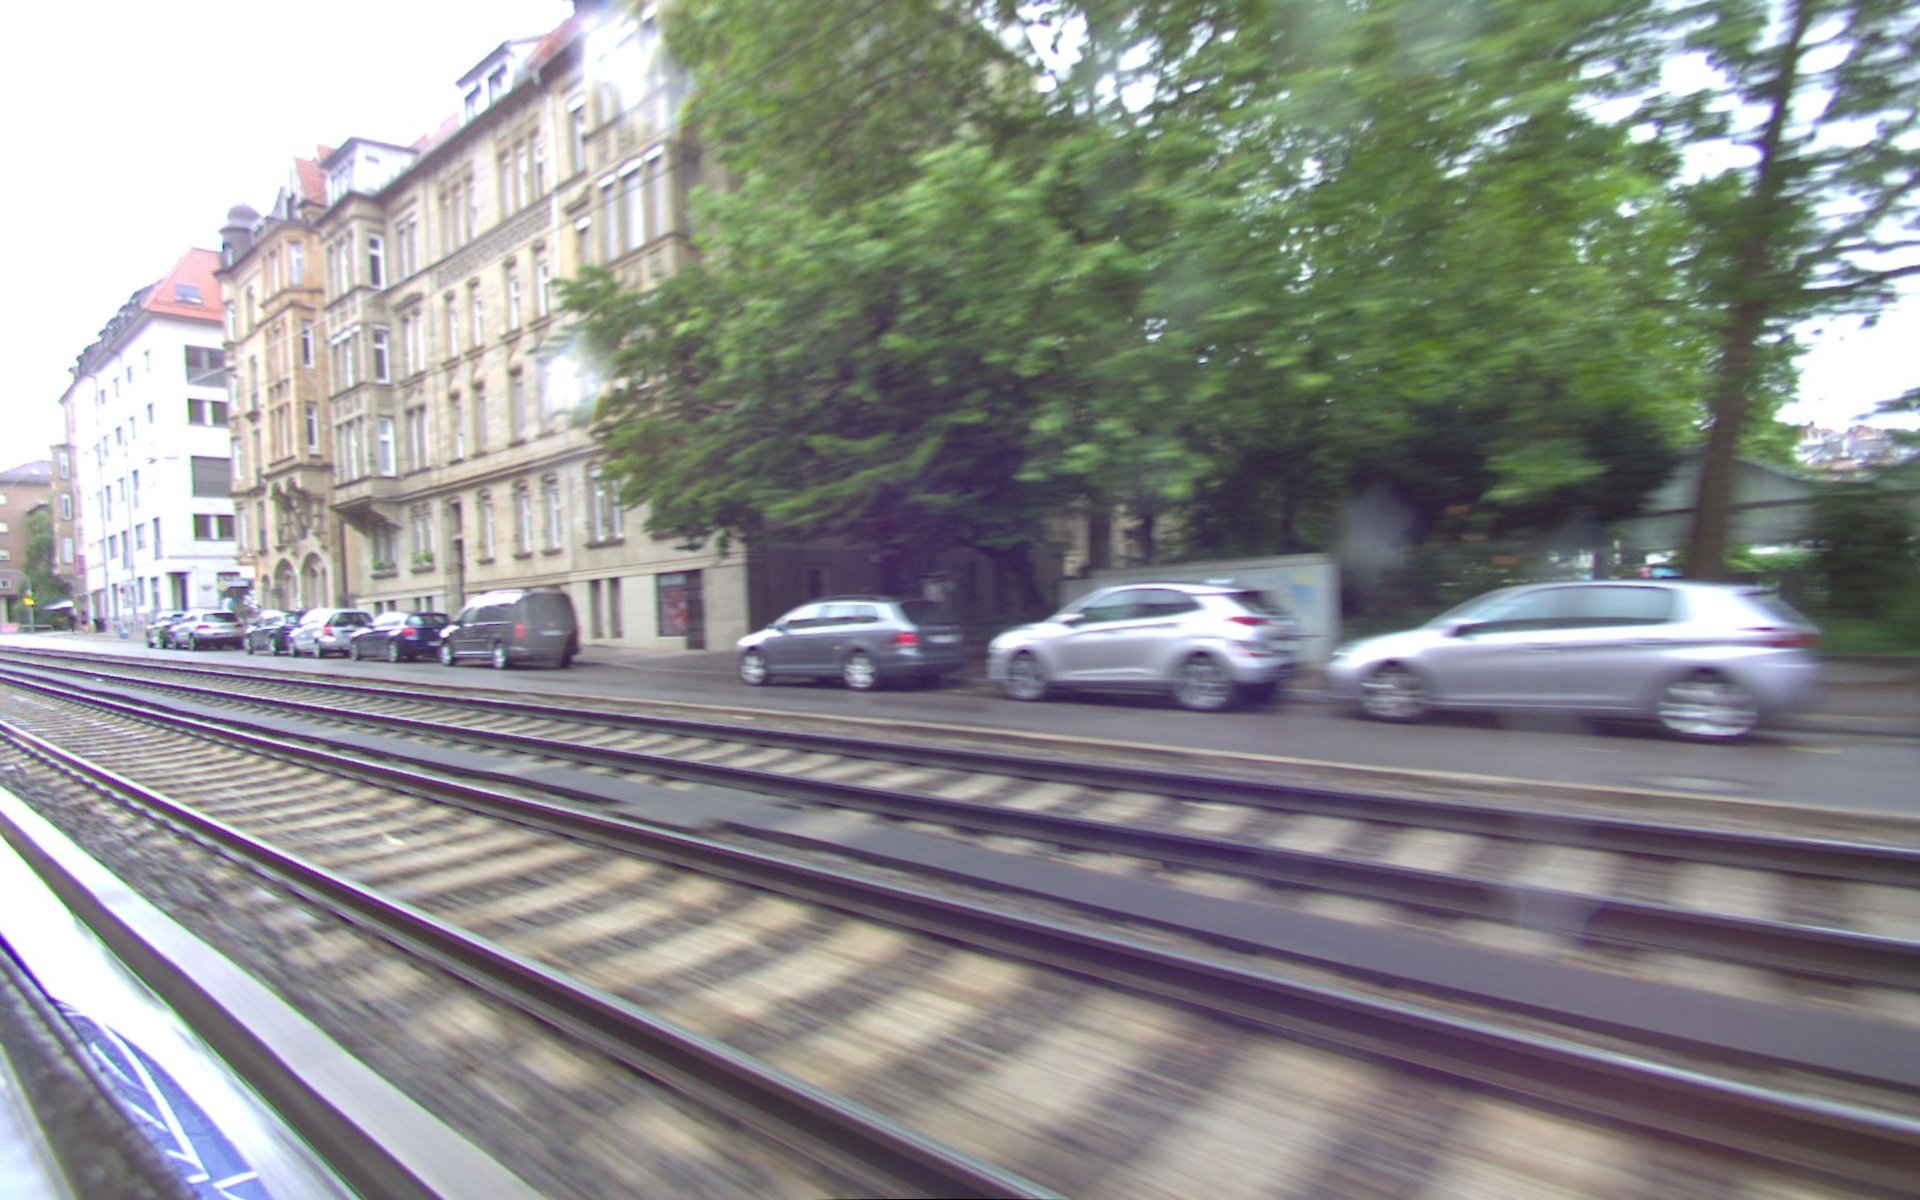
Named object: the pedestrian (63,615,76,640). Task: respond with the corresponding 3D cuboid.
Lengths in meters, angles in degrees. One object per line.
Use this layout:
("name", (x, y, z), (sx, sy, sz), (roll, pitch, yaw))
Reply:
("pedestrian", (-65.831, 2.028, 74.810), (0.746, 1.731, 0.595), (-1, 3, 43))

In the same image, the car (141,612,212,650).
("car", (-35.826, 1.398, 46.214), (4.429, 1.614, 1.838), (-1, -1, 42))

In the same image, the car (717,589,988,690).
("car", (-1.888, 0.627, 16.834), (4.545, 1.475, 1.831), (-1, -2, 39))

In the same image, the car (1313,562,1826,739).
("car", (5.921, 0.456, 10.162), (4.150, 1.424, 1.736), (-1, -2, 40))

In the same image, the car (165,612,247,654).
("car", (-32.086, 1.372, 43.033), (4.311, 1.665, 1.840), (-1, 0, 39))

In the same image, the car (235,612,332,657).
("car", (-24.316, 1.217, 36.339), (4.166, 1.519, 1.851), (-1, -1, 41))

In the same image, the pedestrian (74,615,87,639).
("pedestrian", (-65.352, 1.991, 75.215), (0.658, 1.731, 0.595), (-1, 3, 43))

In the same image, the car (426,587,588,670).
("car", (-11.248, 0.691, 24.979), (4.815, 1.861, 1.782), (-1, -1, 41))

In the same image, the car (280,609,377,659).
("car", (-20.674, 1.102, 33.089), (3.853, 1.535, 1.677), (-1, -1, 41))

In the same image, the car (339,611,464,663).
("car", (-16.190, 1.047, 29.240), (4.266, 1.409, 1.745), (-1, -1, 40))

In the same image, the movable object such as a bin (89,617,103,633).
("movable object such as a bin", (-63.390, 1.821, 74.258), (0.563, 1.088, 0.623), (-2, 4, 40))

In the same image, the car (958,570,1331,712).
("car", (2.263, 0.504, 13.212), (4.539, 1.548, 1.736), (-1, -2, 40))
